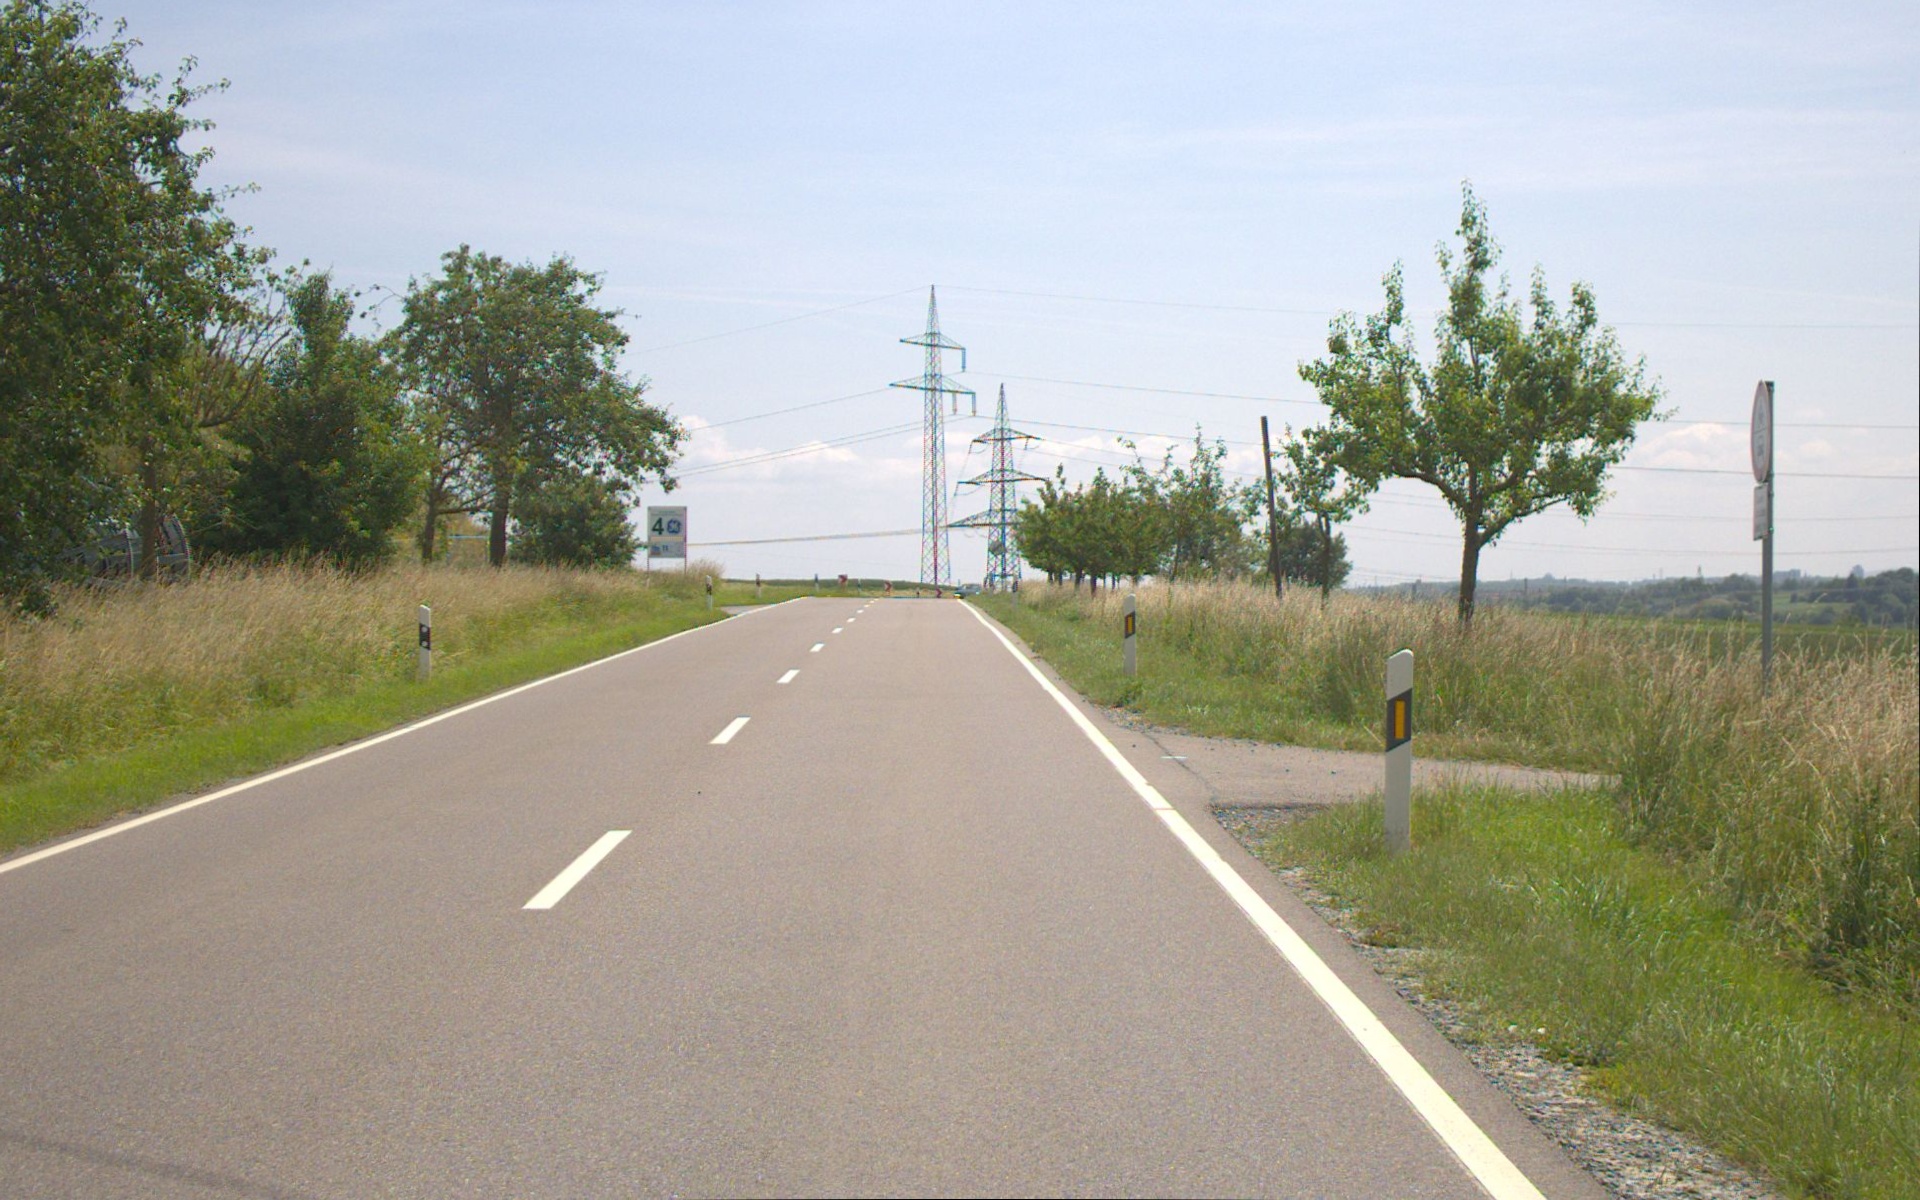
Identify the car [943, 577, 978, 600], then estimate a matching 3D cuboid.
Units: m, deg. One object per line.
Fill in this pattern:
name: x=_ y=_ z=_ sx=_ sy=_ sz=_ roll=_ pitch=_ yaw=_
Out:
car: x=0.062 y=-0.713 z=214.623 sx=1.823 sy=1.406 sz=3.999 roll=0 pitch=1 yaw=5
